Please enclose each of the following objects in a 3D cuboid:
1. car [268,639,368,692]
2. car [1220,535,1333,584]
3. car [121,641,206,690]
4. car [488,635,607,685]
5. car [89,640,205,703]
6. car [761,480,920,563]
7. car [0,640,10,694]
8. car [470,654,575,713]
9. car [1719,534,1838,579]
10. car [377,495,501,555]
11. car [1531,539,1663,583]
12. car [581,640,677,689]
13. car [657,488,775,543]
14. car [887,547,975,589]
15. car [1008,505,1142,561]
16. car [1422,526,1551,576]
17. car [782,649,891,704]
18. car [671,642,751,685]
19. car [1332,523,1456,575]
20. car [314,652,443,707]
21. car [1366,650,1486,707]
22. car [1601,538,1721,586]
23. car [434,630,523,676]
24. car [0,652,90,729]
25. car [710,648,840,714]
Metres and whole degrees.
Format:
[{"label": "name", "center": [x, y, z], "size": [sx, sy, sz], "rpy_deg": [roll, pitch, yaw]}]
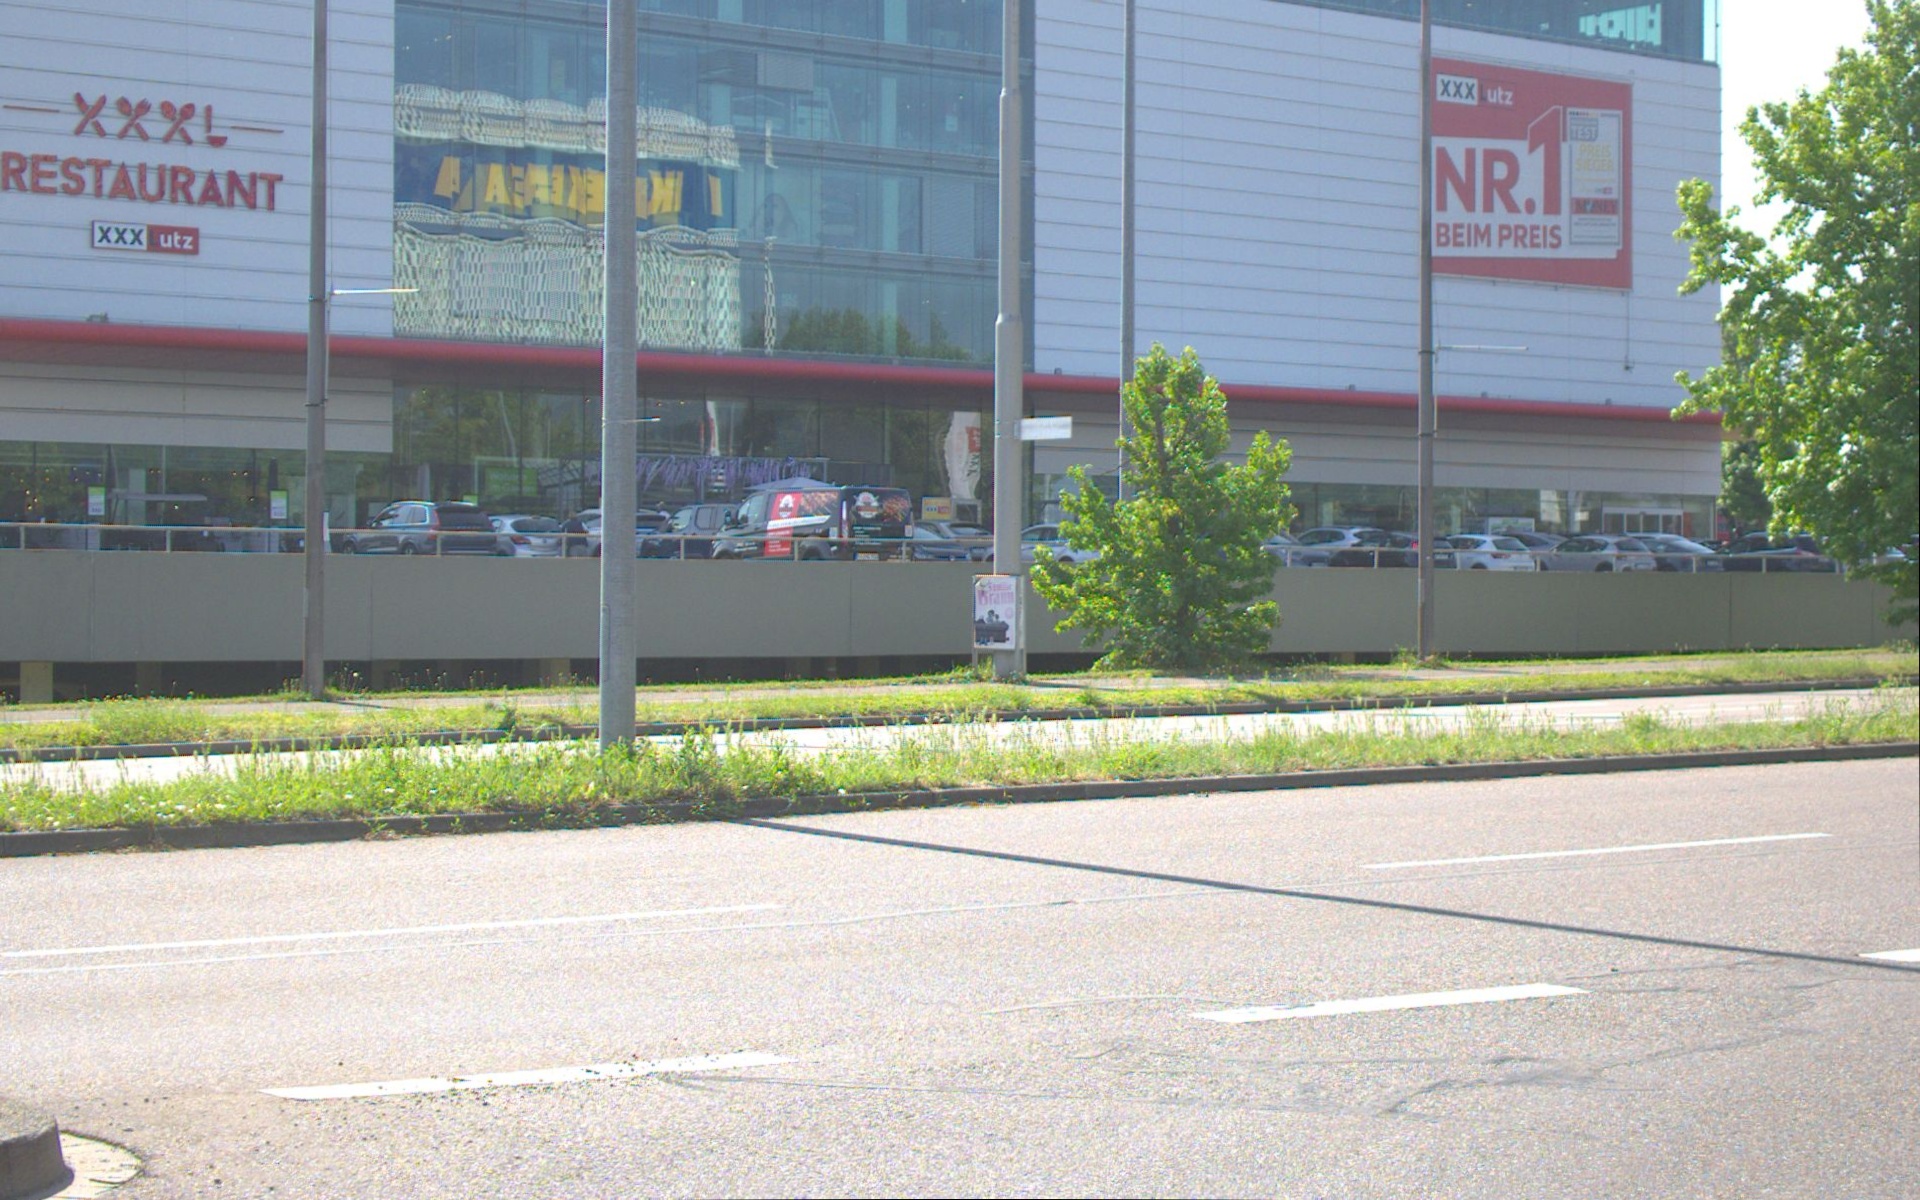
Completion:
[{"label": "car", "center": [-12.494, 1.269, 66.893], "size": [1.068, 0.972, 1.942], "rpy_deg": [1, 0, -40]}, {"label": "car", "center": [8.825, -1.129, 96.097], "size": [1.297, 1.325, 3.144], "rpy_deg": [1, 0, -39]}, {"label": "car", "center": [-16.853, 1.378, 72.695], "size": [0.957, 0.972, 1.942], "rpy_deg": [1, 0, -40]}, {"label": "car", "center": [-5.533, 0.800, 46.022], "size": [0.856, 0.618, 1.563], "rpy_deg": [1, 0, -40]}, {"label": "car", "center": [-13.290, 1.167, 56.192], "size": [1.068, 0.972, 1.942], "rpy_deg": [1, 0, -40]}, {"label": "car", "center": [-2.326, -1.517, 66.684], "size": [1.769, 1.551, 2.775], "rpy_deg": [-1, 1, -39]}, {"label": "car", "center": [-18.216, 1.195, 62.566], "size": [1.068, 0.972, 1.942], "rpy_deg": [1, 0, -40]}, {"label": "car", "center": [-7.720, 1.464, 60.595], "size": [0.908, 0.972, 1.942], "rpy_deg": [1, 0, -40]}, {"label": "car", "center": [23.926, -1.274, 100.592], "size": [1.511, 1.289, 3.097], "rpy_deg": [1, 0, -38]}, {"label": "car", "center": [-12.078, -1.729, 79.577], "size": [1.511, 1.325, 3.020], "rpy_deg": [1, 0, -39]}, {"label": "car", "center": [17.814, -1.097, 96.245], "size": [1.476, 1.195, 3.509], "rpy_deg": [1, 0, -39]}, {"label": "car", "center": [-6.892, 1.339, 71.558], "size": [1.068, 0.972, 1.942], "rpy_deg": [1, 0, -40]}, {"label": "car", "center": [-6.270, -2.154, 88.218], "size": [1.511, 1.325, 3.097], "rpy_deg": [1, 0, -39]}, {"label": "car", "center": [-0.690, -0.746, 80.923], "size": [1.068, 0.972, 1.942], "rpy_deg": [-1, 1, -40]}, {"label": "car", "center": [2.807, -1.629, 84.324], "size": [1.511, 1.325, 3.223], "rpy_deg": [1, 0, -39]}, {"label": "car", "center": [14.286, -1.326, 93.375], "size": [1.699, 1.325, 3.097], "rpy_deg": [1, 0, -39]}, {"label": "car", "center": [-2.334, 1.440, 64.798], "size": [1.068, 0.972, 1.942], "rpy_deg": [1, 0, -40]}, {"label": "car", "center": [-5.946, 1.500, 81.886], "size": [0.919, 0.972, 1.942], "rpy_deg": [1, 0, -40]}, {"label": "car", "center": [11.602, -1.357, 91.950], "size": [1.511, 1.325, 3.097], "rpy_deg": [1, 0, -39]}, {"label": "car", "center": [-8.445, 1.141, 49.856], "size": [0.904, 0.731, 2.087], "rpy_deg": [1, 0, -40]}, {"label": "car", "center": [8.511, 1.432, 62.819], "size": [1.068, 0.972, 1.942], "rpy_deg": [1, 0, -40]}, {"label": "car", "center": [20.006, -1.087, 98.184], "size": [1.511, 1.325, 3.097], "rpy_deg": [1, 0, -39]}, {"label": "car", "center": [-10.712, 1.171, 76.494], "size": [1.068, 0.972, 1.942], "rpy_deg": [1, 0, -40]}, {"label": "car", "center": [-11.240, 1.081, 41.613], "size": [0.790, 0.879, 1.505], "rpy_deg": [1, 0, -40]}, {"label": "car", "center": [-2.919, 1.265, 54.162], "size": [1.068, 0.972, 1.942], "rpy_deg": [1, 0, -40]}]
